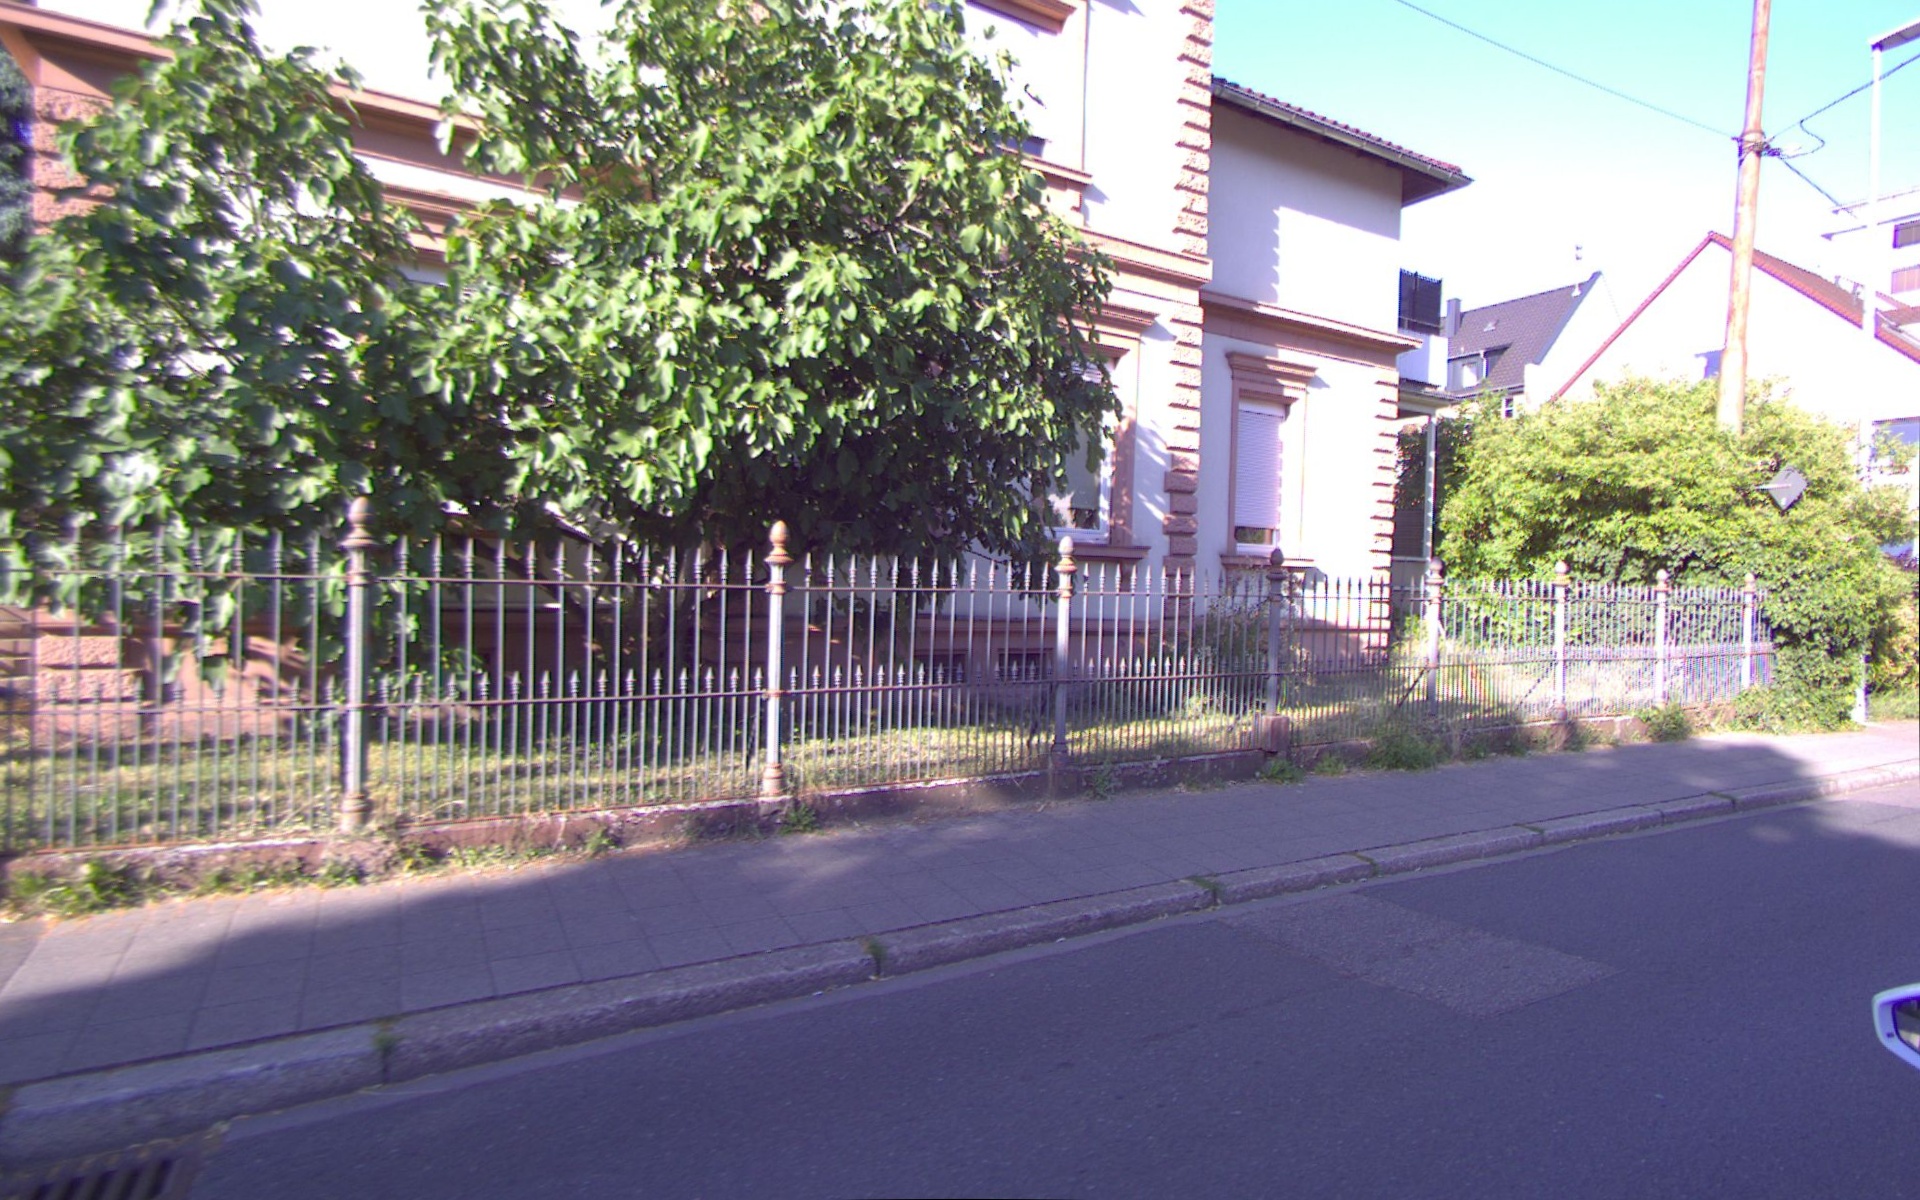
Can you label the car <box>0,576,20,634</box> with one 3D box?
[{"bbox_3d":[-23.798,0.134,23.182,1.815,1.387,3.976,1,1,-24],"label":"car"}]
